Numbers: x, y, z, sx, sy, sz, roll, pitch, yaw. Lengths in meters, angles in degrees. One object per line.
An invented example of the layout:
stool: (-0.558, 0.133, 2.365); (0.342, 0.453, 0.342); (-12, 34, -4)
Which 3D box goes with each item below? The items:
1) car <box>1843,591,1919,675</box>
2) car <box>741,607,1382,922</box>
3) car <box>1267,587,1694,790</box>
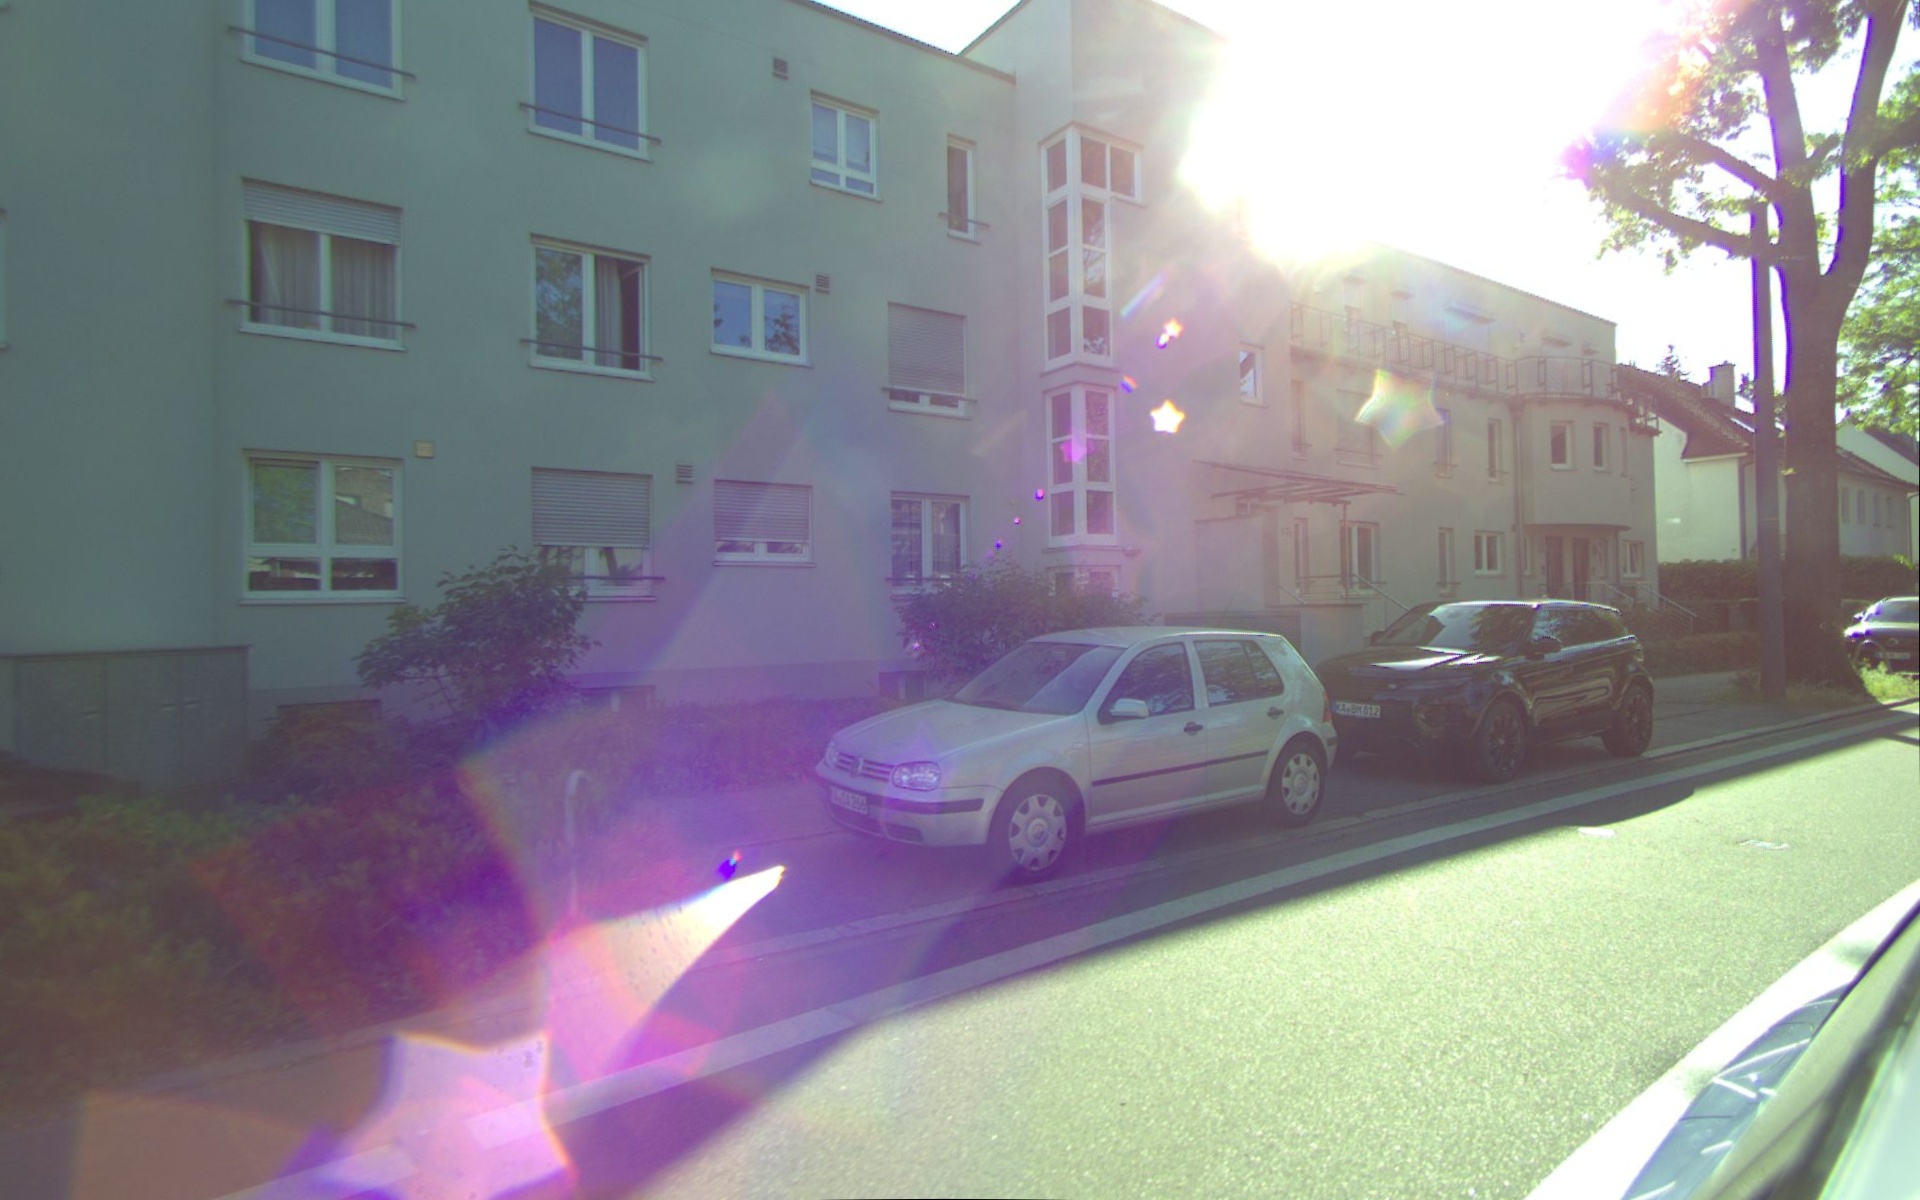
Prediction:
car: (19.534, 0.599, 20.229); (4.563, 1.538, 1.881); (-1, -1, -37)
car: (0.892, 0.866, 7.161); (4.444, 1.515, 1.743); (-1, -1, -35)
car: (5.471, 0.712, 10.456); (4.513, 1.636, 2.000); (-1, 0, -34)
